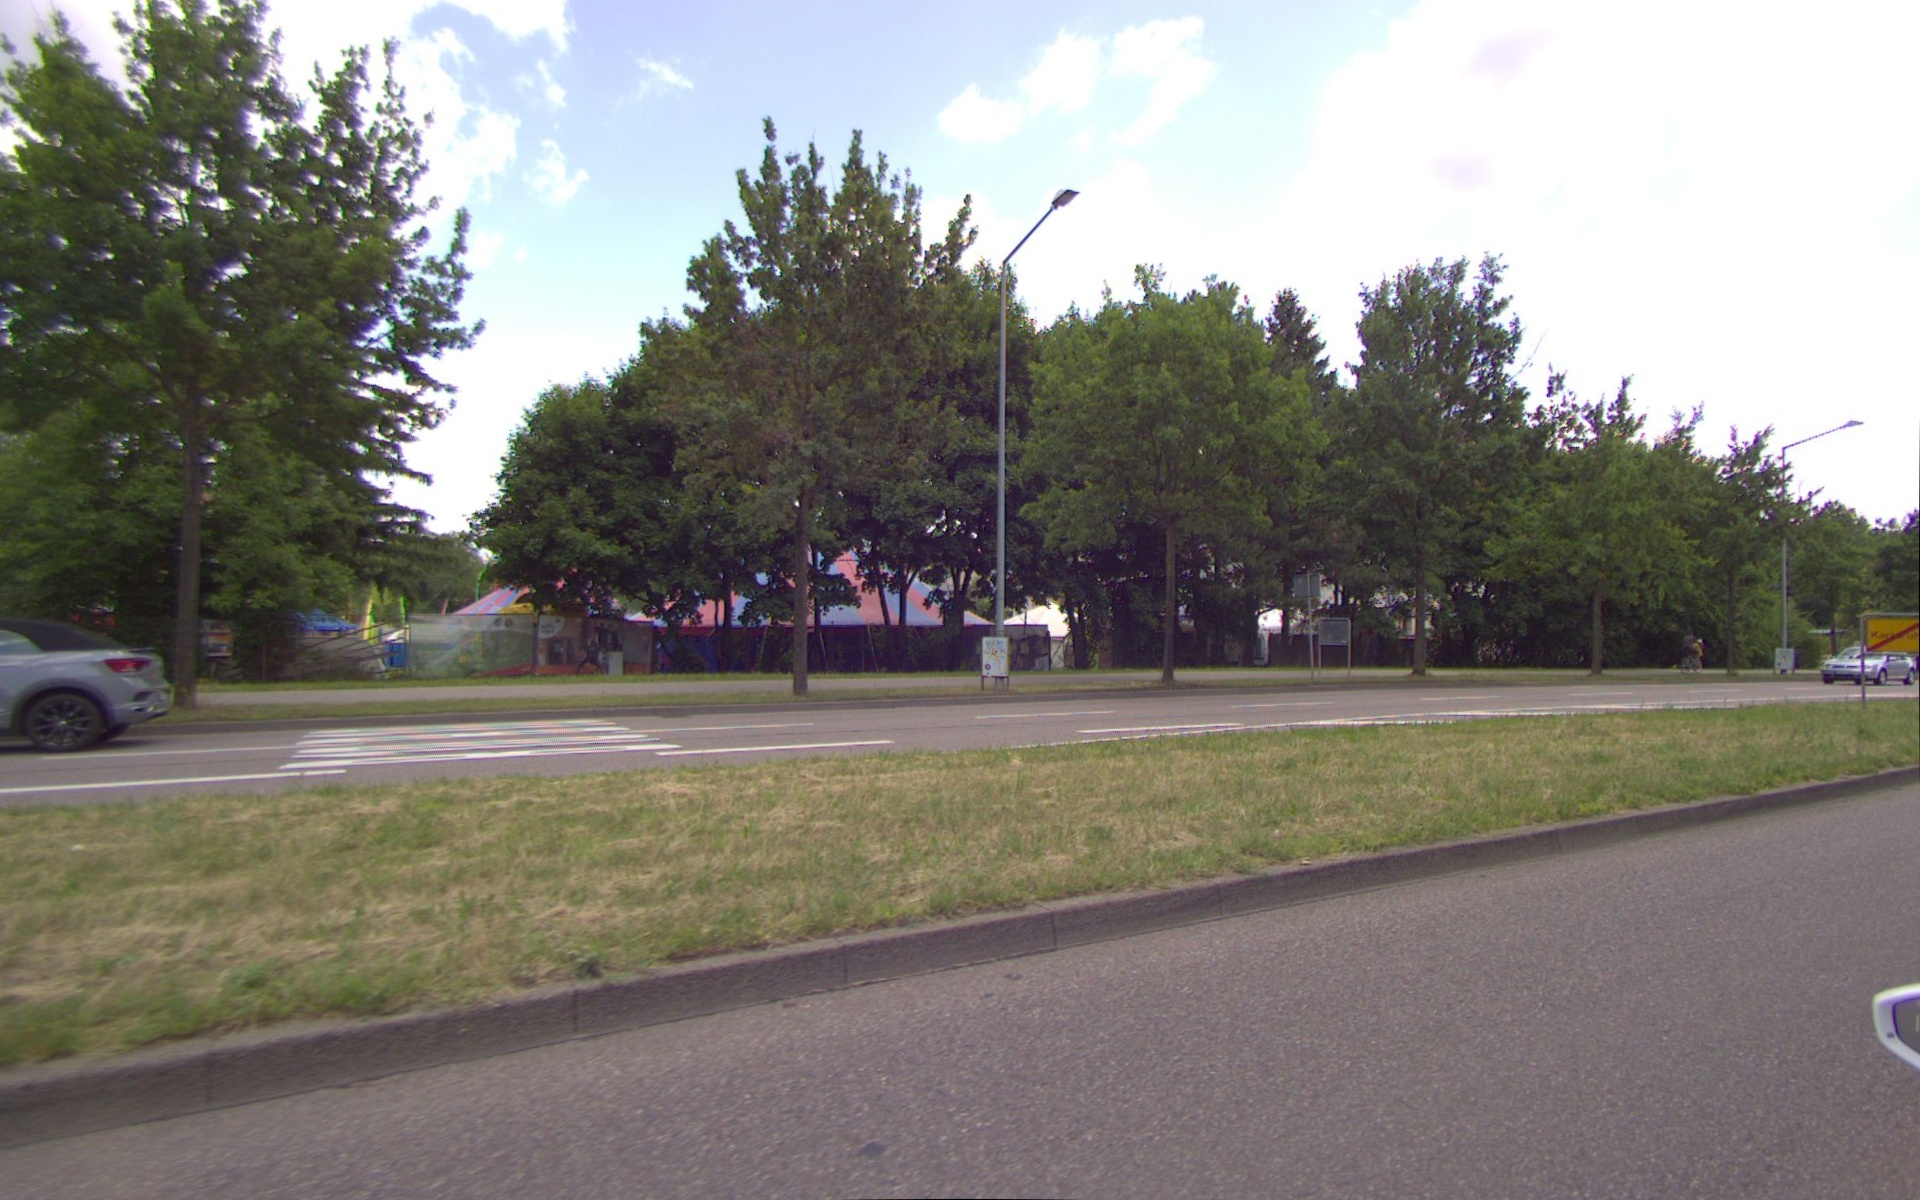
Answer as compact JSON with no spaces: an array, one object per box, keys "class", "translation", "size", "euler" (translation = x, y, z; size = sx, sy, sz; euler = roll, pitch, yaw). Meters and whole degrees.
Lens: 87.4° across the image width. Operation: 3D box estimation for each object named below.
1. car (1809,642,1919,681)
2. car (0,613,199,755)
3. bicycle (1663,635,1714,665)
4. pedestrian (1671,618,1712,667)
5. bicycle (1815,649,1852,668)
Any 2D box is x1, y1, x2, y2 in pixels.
[{"class":"car","translation":[33.735,2.255,37.448],"size":[4.325,1.346,1.635],"euler":[1,-2,-27]},{"class":"car","translation":[-11.710,0.950,11.528],"size":[4.521,1.566,1.733],"euler":[1,-3,-31]},{"class":"bicycle","translation":[31.136,2.139,42.927],"size":[2.472,1.243,0.804],"euler":[1,-2,-30]},{"class":"pedestrian","translation":[31.275,1.818,42.943],"size":[1.234,2.040,0.966],"euler":[1,-1,-29]},{"class":"bicycle","translation":[51.782,3.465,59.561],"size":[0.866,1.073,2.364],"euler":[0,-2,20]}]
